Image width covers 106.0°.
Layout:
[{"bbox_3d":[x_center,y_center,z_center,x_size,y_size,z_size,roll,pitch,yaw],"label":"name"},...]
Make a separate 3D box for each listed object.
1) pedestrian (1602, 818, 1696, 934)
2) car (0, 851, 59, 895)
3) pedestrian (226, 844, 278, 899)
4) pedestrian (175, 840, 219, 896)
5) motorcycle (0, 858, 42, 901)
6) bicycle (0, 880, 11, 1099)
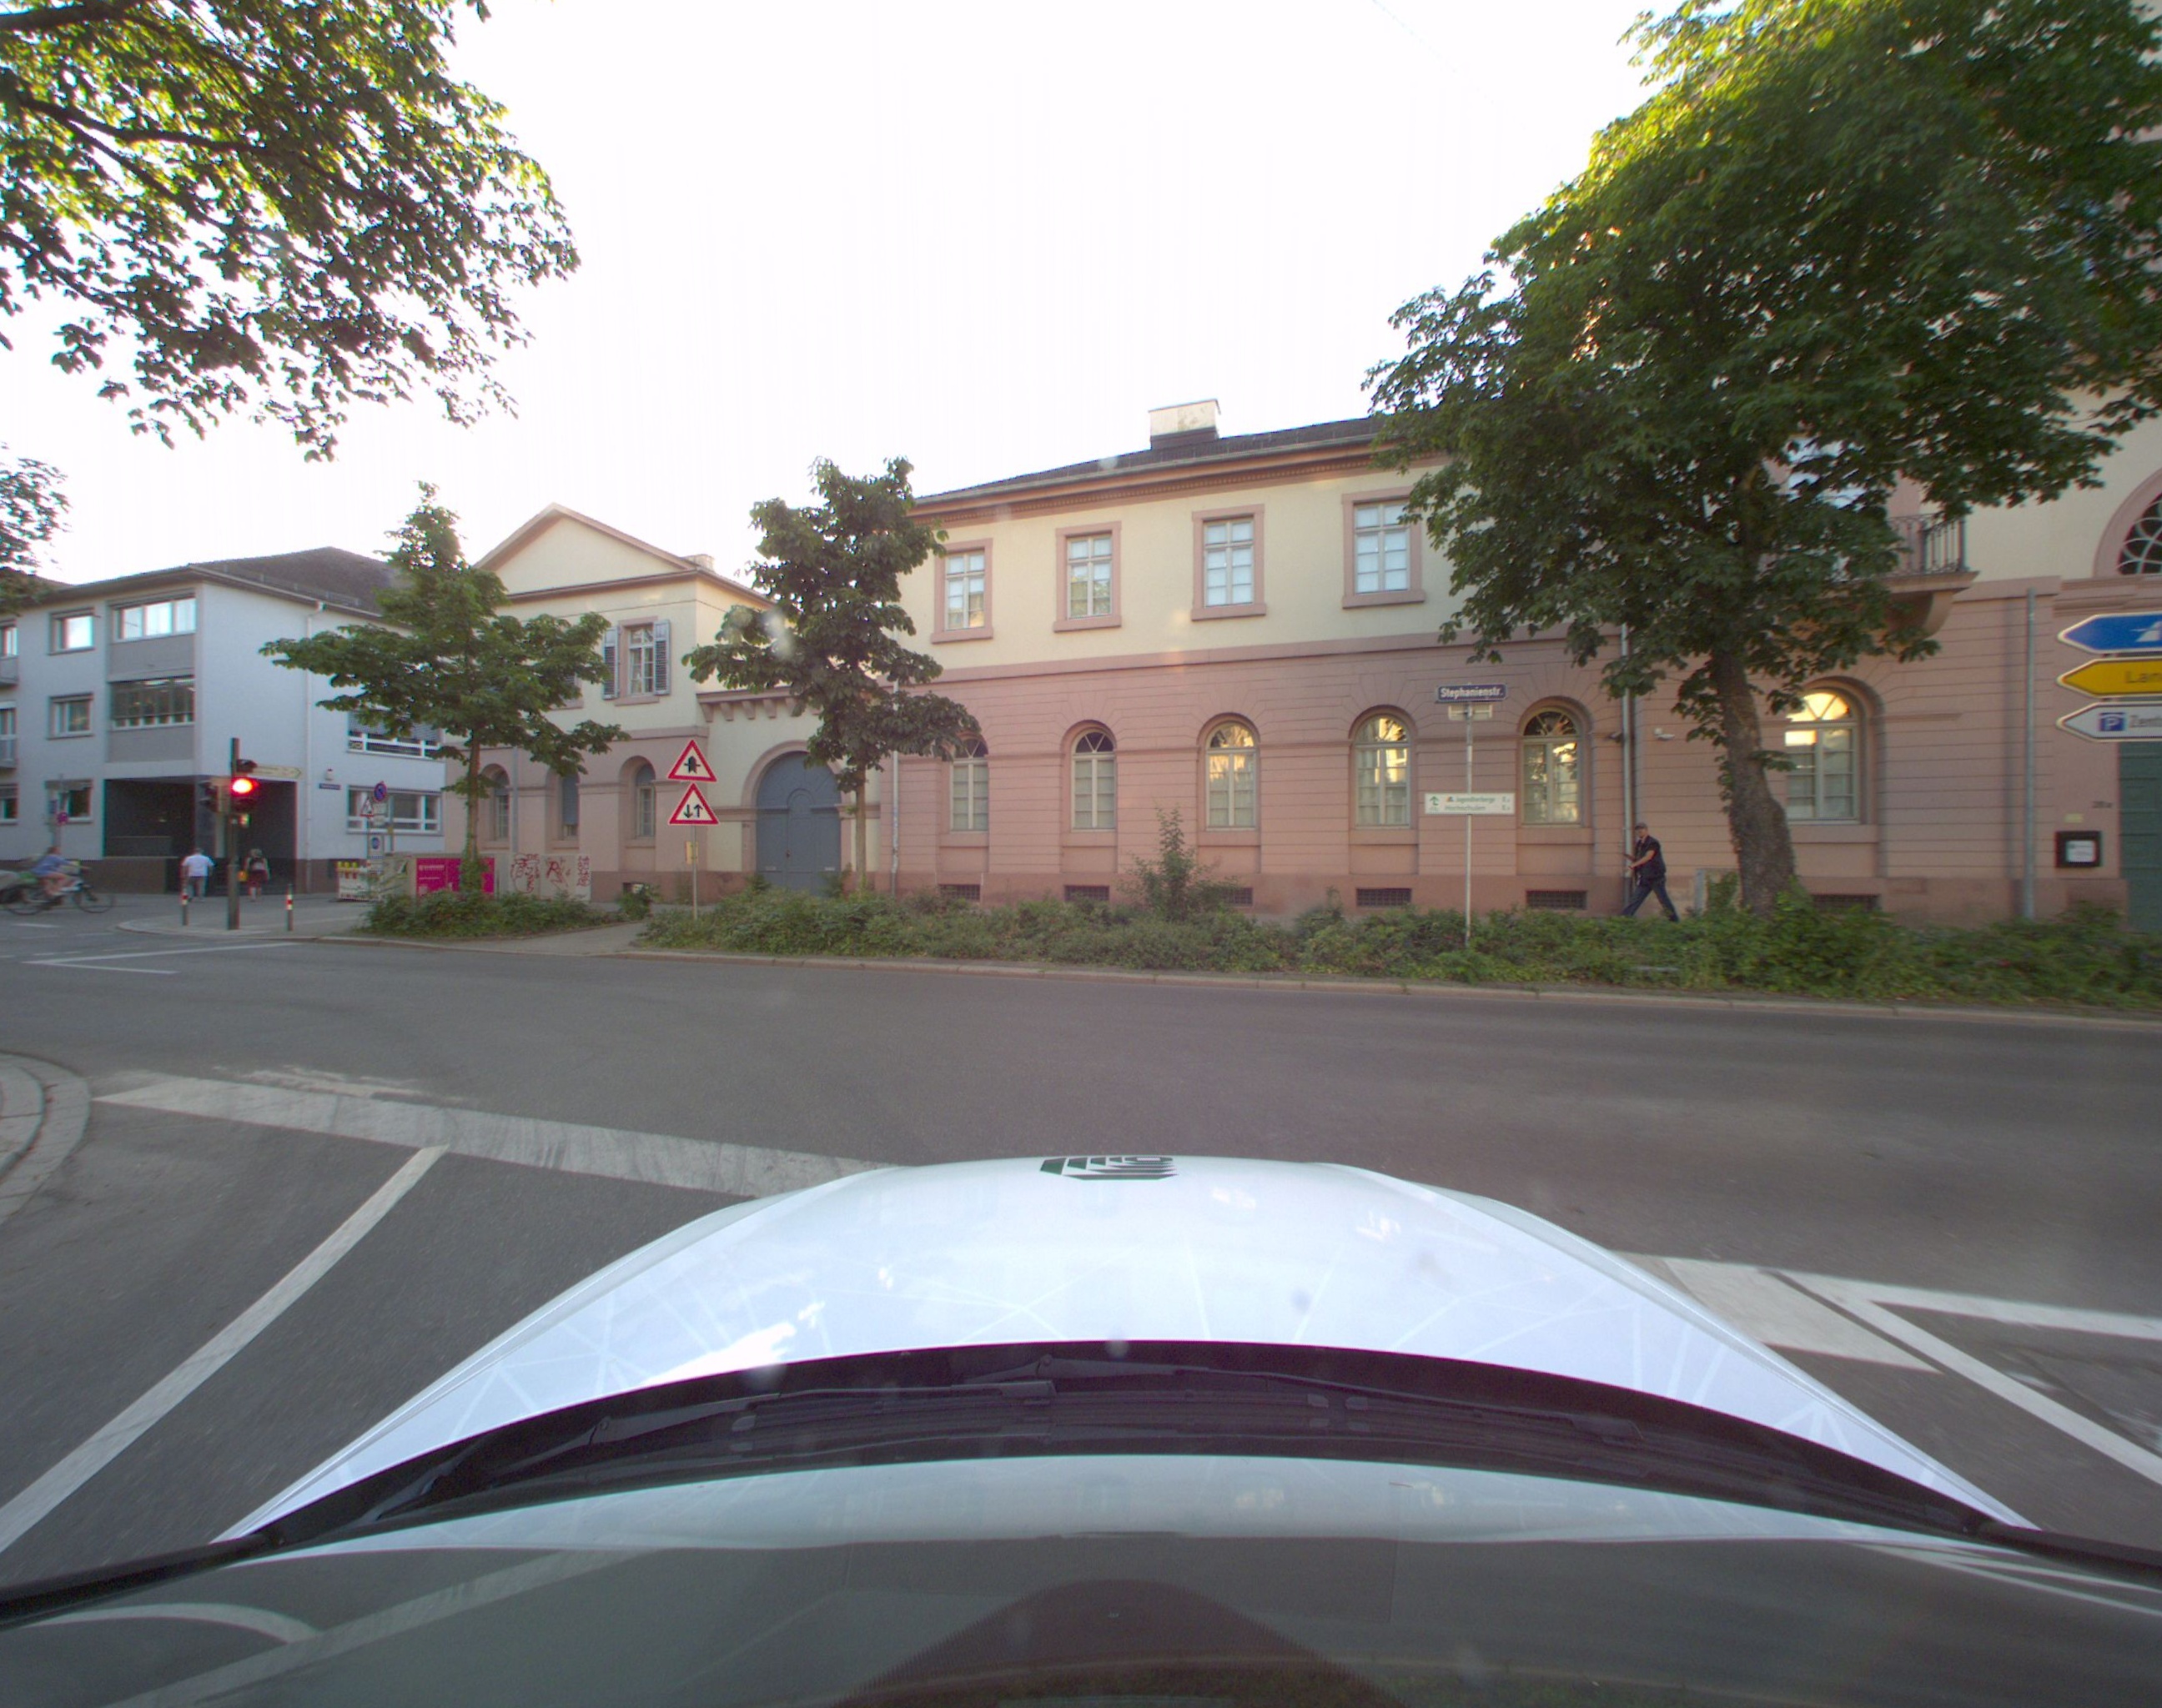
[{"bbox_3d":[9.342,0.347,13.439,1.071,1.839,0.804,0,0,17],"label":"pedestrian"},{"bbox_3d":[-34.200,0.589,24.435,1.687,1.342,4.047,0,0,19],"label":"car"},{"bbox_3d":[-26.858,0.553,26.389,0.761,1.752,0.938,1,-1,23],"label":"pedestrian"},{"bbox_3d":[-27.886,0.438,25.688,0.691,1.752,0.710,1,-1,22],"label":"pedestrian"},{"bbox_3d":[-31.224,0.731,23.266,0.605,1.199,1.817,0,0,28],"label":"motorcycle"},{"bbox_3d":[-7.602,0.792,5.132,2.539,1.267,0.851,1,1,33],"label":"bicycle"}]
